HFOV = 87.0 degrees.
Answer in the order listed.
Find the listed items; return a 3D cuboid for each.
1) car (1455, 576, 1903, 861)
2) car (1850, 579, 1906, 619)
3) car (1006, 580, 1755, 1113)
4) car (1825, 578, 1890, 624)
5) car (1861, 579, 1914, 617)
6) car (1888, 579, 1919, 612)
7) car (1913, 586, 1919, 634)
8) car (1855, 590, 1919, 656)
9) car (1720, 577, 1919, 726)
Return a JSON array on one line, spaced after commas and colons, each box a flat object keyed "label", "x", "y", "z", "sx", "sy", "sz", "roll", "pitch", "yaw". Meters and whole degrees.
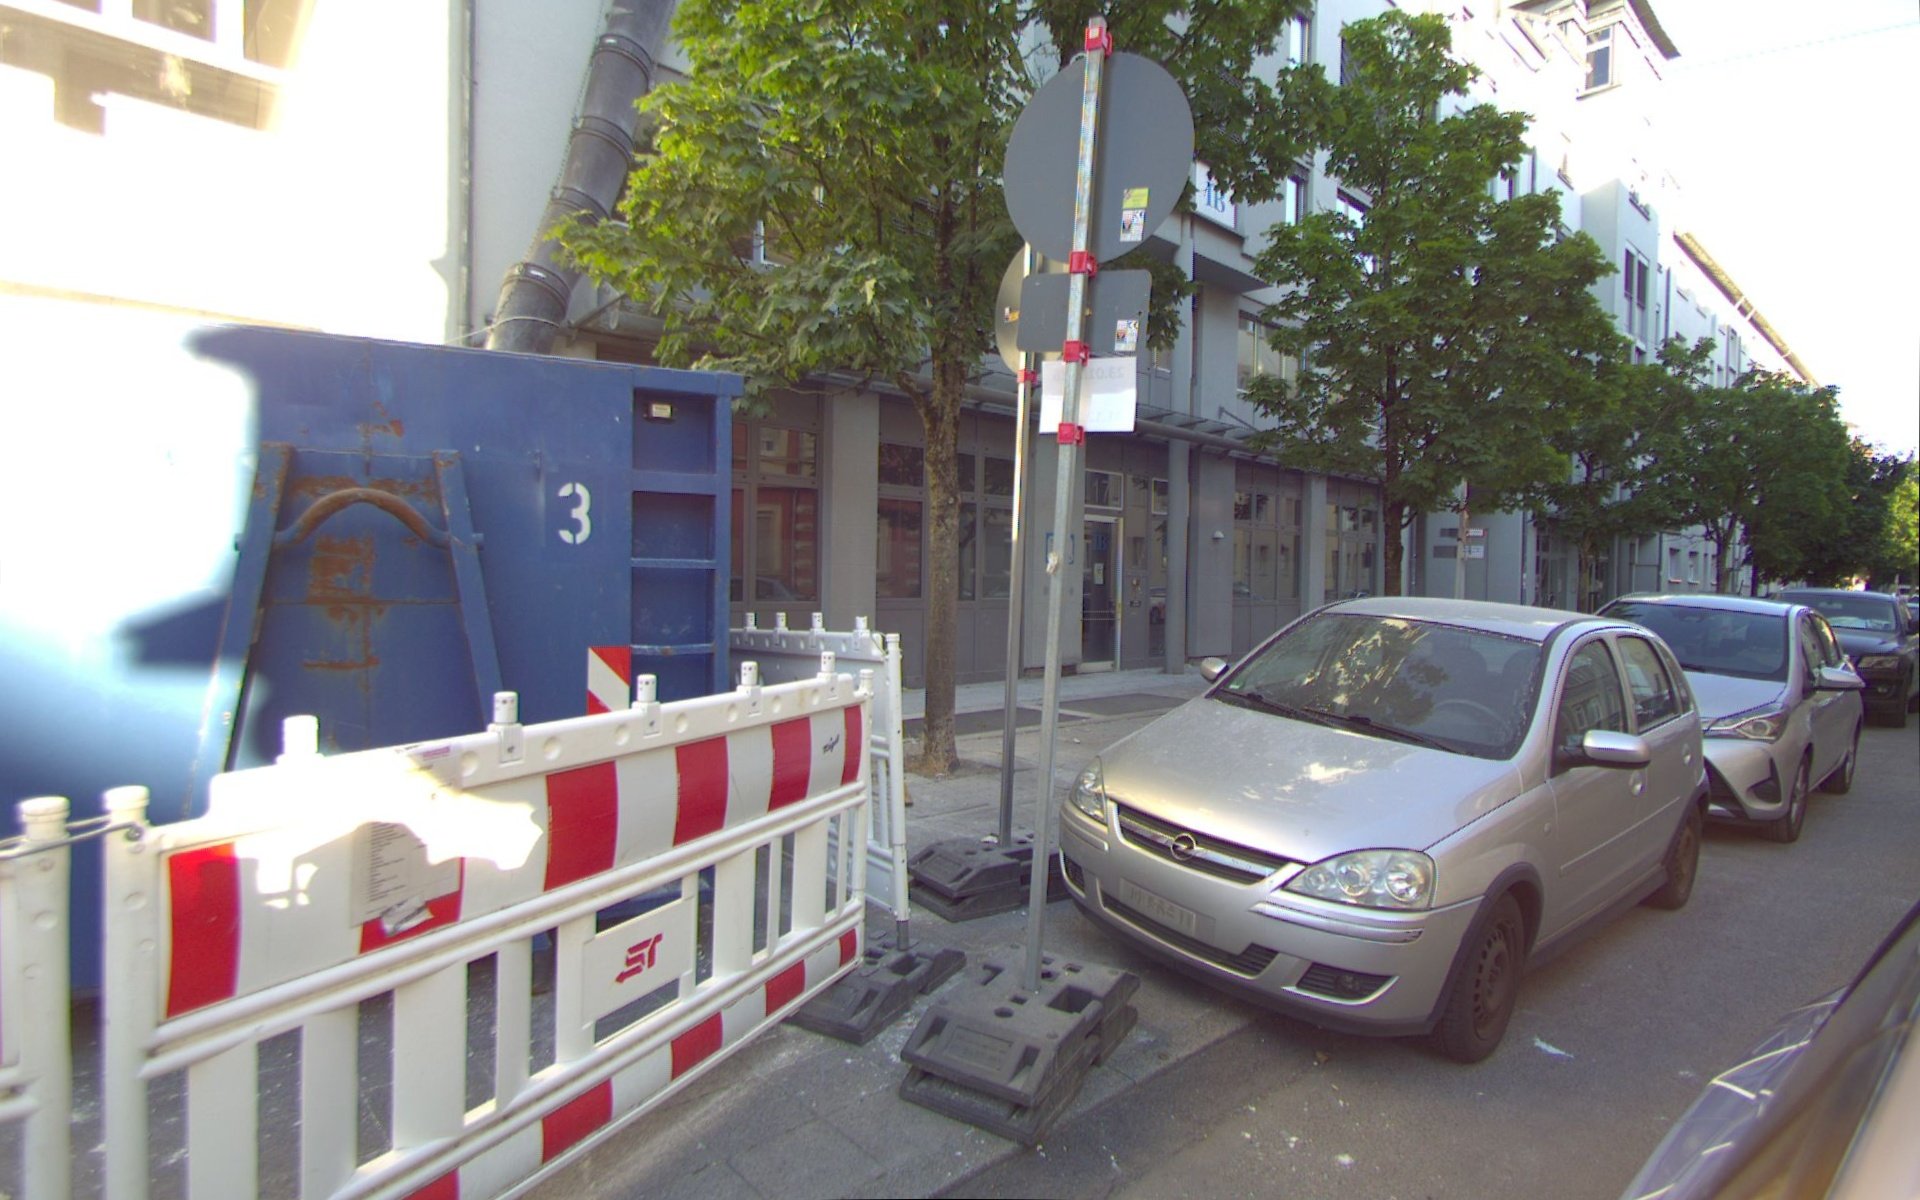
[{"label": "car", "x": 5.611, "y": 0.640, "z": 7.725, "sx": 3.930, "sy": 1.605, "sz": 1.911, "roll": 0, "pitch": 1, "yaw": -41}, {"label": "car", "x": 48.660, "y": -0.060, "z": 53.623, "sx": 3.935, "sy": 2.039, "sz": 1.995, "roll": 0, "pitch": 1, "yaw": -45}, {"label": "car", "x": 2.221, "y": 0.661, "z": 4.736, "sx": 3.995, "sy": 1.465, "sz": 1.637, "roll": 0, "pitch": 1, "yaw": -41}, {"label": "car", "x": 41.884, "y": 0.037, "z": 47.190, "sx": 3.935, "sy": 2.039, "sz": 1.995, "roll": 0, "pitch": 1, "yaw": -45}, {"label": "car", "x": 51.905, "y": -0.154, "z": 56.615, "sx": 3.935, "sy": 2.039, "sz": 1.995, "roll": 0, "pitch": 1, "yaw": -45}, {"label": "car", "x": 61.129, "y": -0.283, "z": 65.068, "sx": 3.935, "sy": 2.039, "sz": 1.995, "roll": 0, "pitch": 1, "yaw": -45}, {"label": "car", "x": 35.229, "y": 0.344, "z": 35.990, "sx": 1.851, "sy": 1.680, "sz": 3.936, "roll": 1, "pitch": 1, "yaw": 44}, {"label": "car", "x": 23.416, "y": 0.527, "z": 24.890, "sx": 3.935, "sy": 1.507, "sz": 1.852, "roll": 0, "pitch": 1, "yaw": -45}, {"label": "car", "x": 11.972, "y": 0.564, "z": 13.731, "sx": 4.315, "sy": 1.710, "sz": 1.861, "roll": 0, "pitch": 1, "yaw": -42}]
